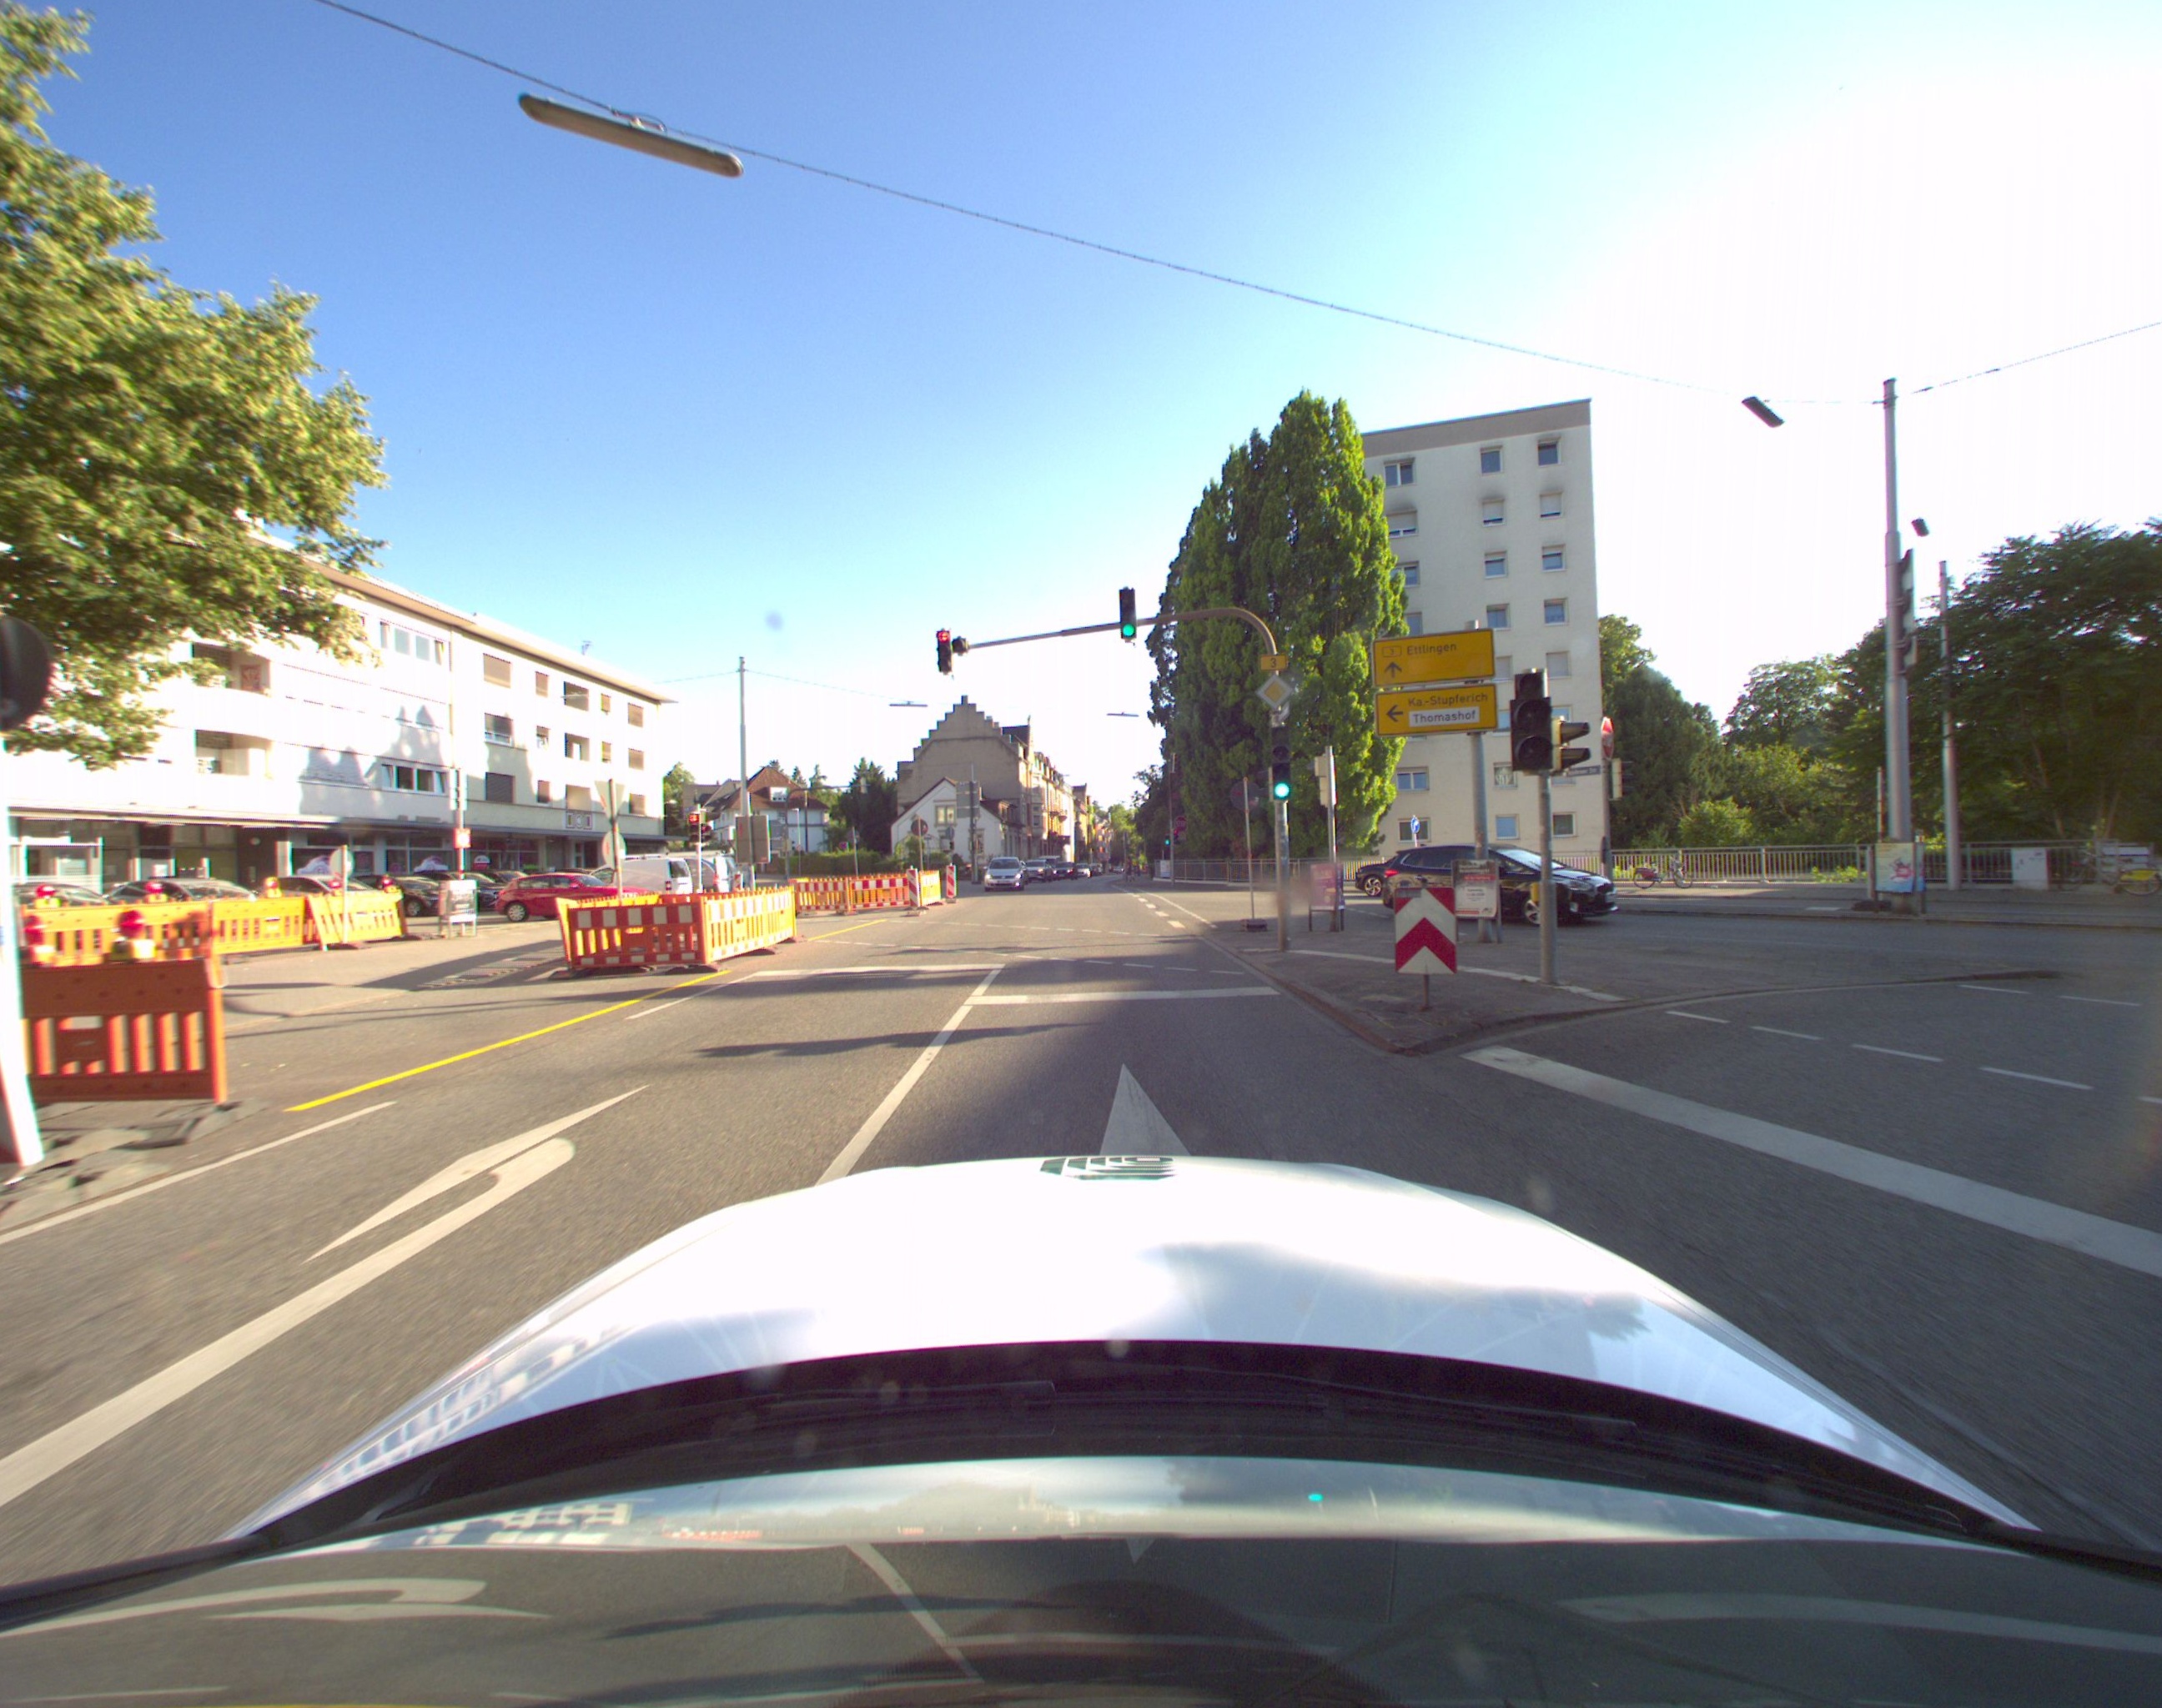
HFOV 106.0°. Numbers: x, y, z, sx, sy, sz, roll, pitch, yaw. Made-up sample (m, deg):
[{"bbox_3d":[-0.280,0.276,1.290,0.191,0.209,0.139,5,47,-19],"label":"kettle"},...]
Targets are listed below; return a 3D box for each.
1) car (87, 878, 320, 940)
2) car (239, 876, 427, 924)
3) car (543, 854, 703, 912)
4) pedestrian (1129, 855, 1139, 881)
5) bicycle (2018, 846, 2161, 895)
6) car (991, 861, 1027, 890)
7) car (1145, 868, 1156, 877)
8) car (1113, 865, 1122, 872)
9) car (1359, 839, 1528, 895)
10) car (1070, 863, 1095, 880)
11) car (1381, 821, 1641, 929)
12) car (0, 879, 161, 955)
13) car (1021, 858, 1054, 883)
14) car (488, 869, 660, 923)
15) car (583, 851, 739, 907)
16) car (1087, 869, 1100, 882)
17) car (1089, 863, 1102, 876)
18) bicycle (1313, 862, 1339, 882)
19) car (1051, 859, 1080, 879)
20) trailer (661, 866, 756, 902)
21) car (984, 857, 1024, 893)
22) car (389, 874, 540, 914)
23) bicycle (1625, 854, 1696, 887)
[{"bbox_3d":[-23.645,1.456,22.057,4.294,1.510,2.002,-1,0,4],"label":"car"},{"bbox_3d":[-23.947,1.443,26.173,4.294,1.398,2.002,-1,0,4],"label":"car"},{"bbox_3d":[-15.459,0.954,27.650,4.293,1.852,2.003,-1,0,4],"label":"car"},{"bbox_3d":[3.569,0.926,54.791,0.599,1.693,0.613,-3,0,4],"label":"pedestrian"},{"bbox_3d":[25.848,0.409,20.876,2.304,1.178,0.716,0,0,40],"label":"bicycle"},{"bbox_3d":[-4.037,1.170,46.177,1.770,1.480,4.094,-1,0,-1],"label":"car"},{"bbox_3d":[13.647,3.625,160.469,1.983,1.517,4.008,-3,0,7],"label":"car"},{"bbox_3d":[8.679,3.522,193.634,1.984,1.491,4.477,-2,0,6],"label":"car"},{"bbox_3d":[11.718,0.471,26.574,2.011,1.670,4.607,3,-3,-43],"label":"car"},{"bbox_3d":[0.204,1.765,84.501,1.942,1.648,4.294,-1,0,9],"label":"car"},{"bbox_3d":[8.615,0.349,16.659,2.008,1.815,4.207,-5,2,-34],"label":"car"},{"bbox_3d":[-23.607,1.358,18.050,4.294,1.511,2.002,-1,0,4],"label":"car"},{"bbox_3d":[-3.052,1.118,57.530,1.768,1.648,4.539,-1,0,4],"label":"car"},{"bbox_3d":[-15.507,1.258,25.077,3.981,1.479,1.998,-1,0,-3],"label":"car"},{"bbox_3d":[-15.447,0.888,30.161,4.652,1.964,2.117,-1,0,0],"label":"car"},{"bbox_3d":[1.870,3.204,121.529,1.694,1.738,3.861,-1,-1,4],"label":"car"},{"bbox_3d":[2.341,2.467,132.707,1.784,2.010,4.703,-1,-1,5],"label":"car"},{"bbox_3d":[11.626,0.860,38.598,1.292,0.903,0.406,-1,0,-29],"label":"bicycle"},{"bbox_3d":[-1.321,1.290,70.803,1.943,1.648,4.290,-1,0,6],"label":"car"},{"bbox_3d":[-15.648,1.245,34.288,3.243,1.397,1.574,-1,0,0],"label":"trailer"},{"bbox_3d":[-3.630,0.925,38.087,1.773,1.543,3.991,-1,0,-6],"label":"car"},{"bbox_3d":[-23.428,1.509,31.039,4.294,1.398,2.002,-1,0,4],"label":"car"},{"bbox_3d":[19.816,0.547,27.859,1.899,1.068,0.619,0,0,42],"label":"bicycle"}]
